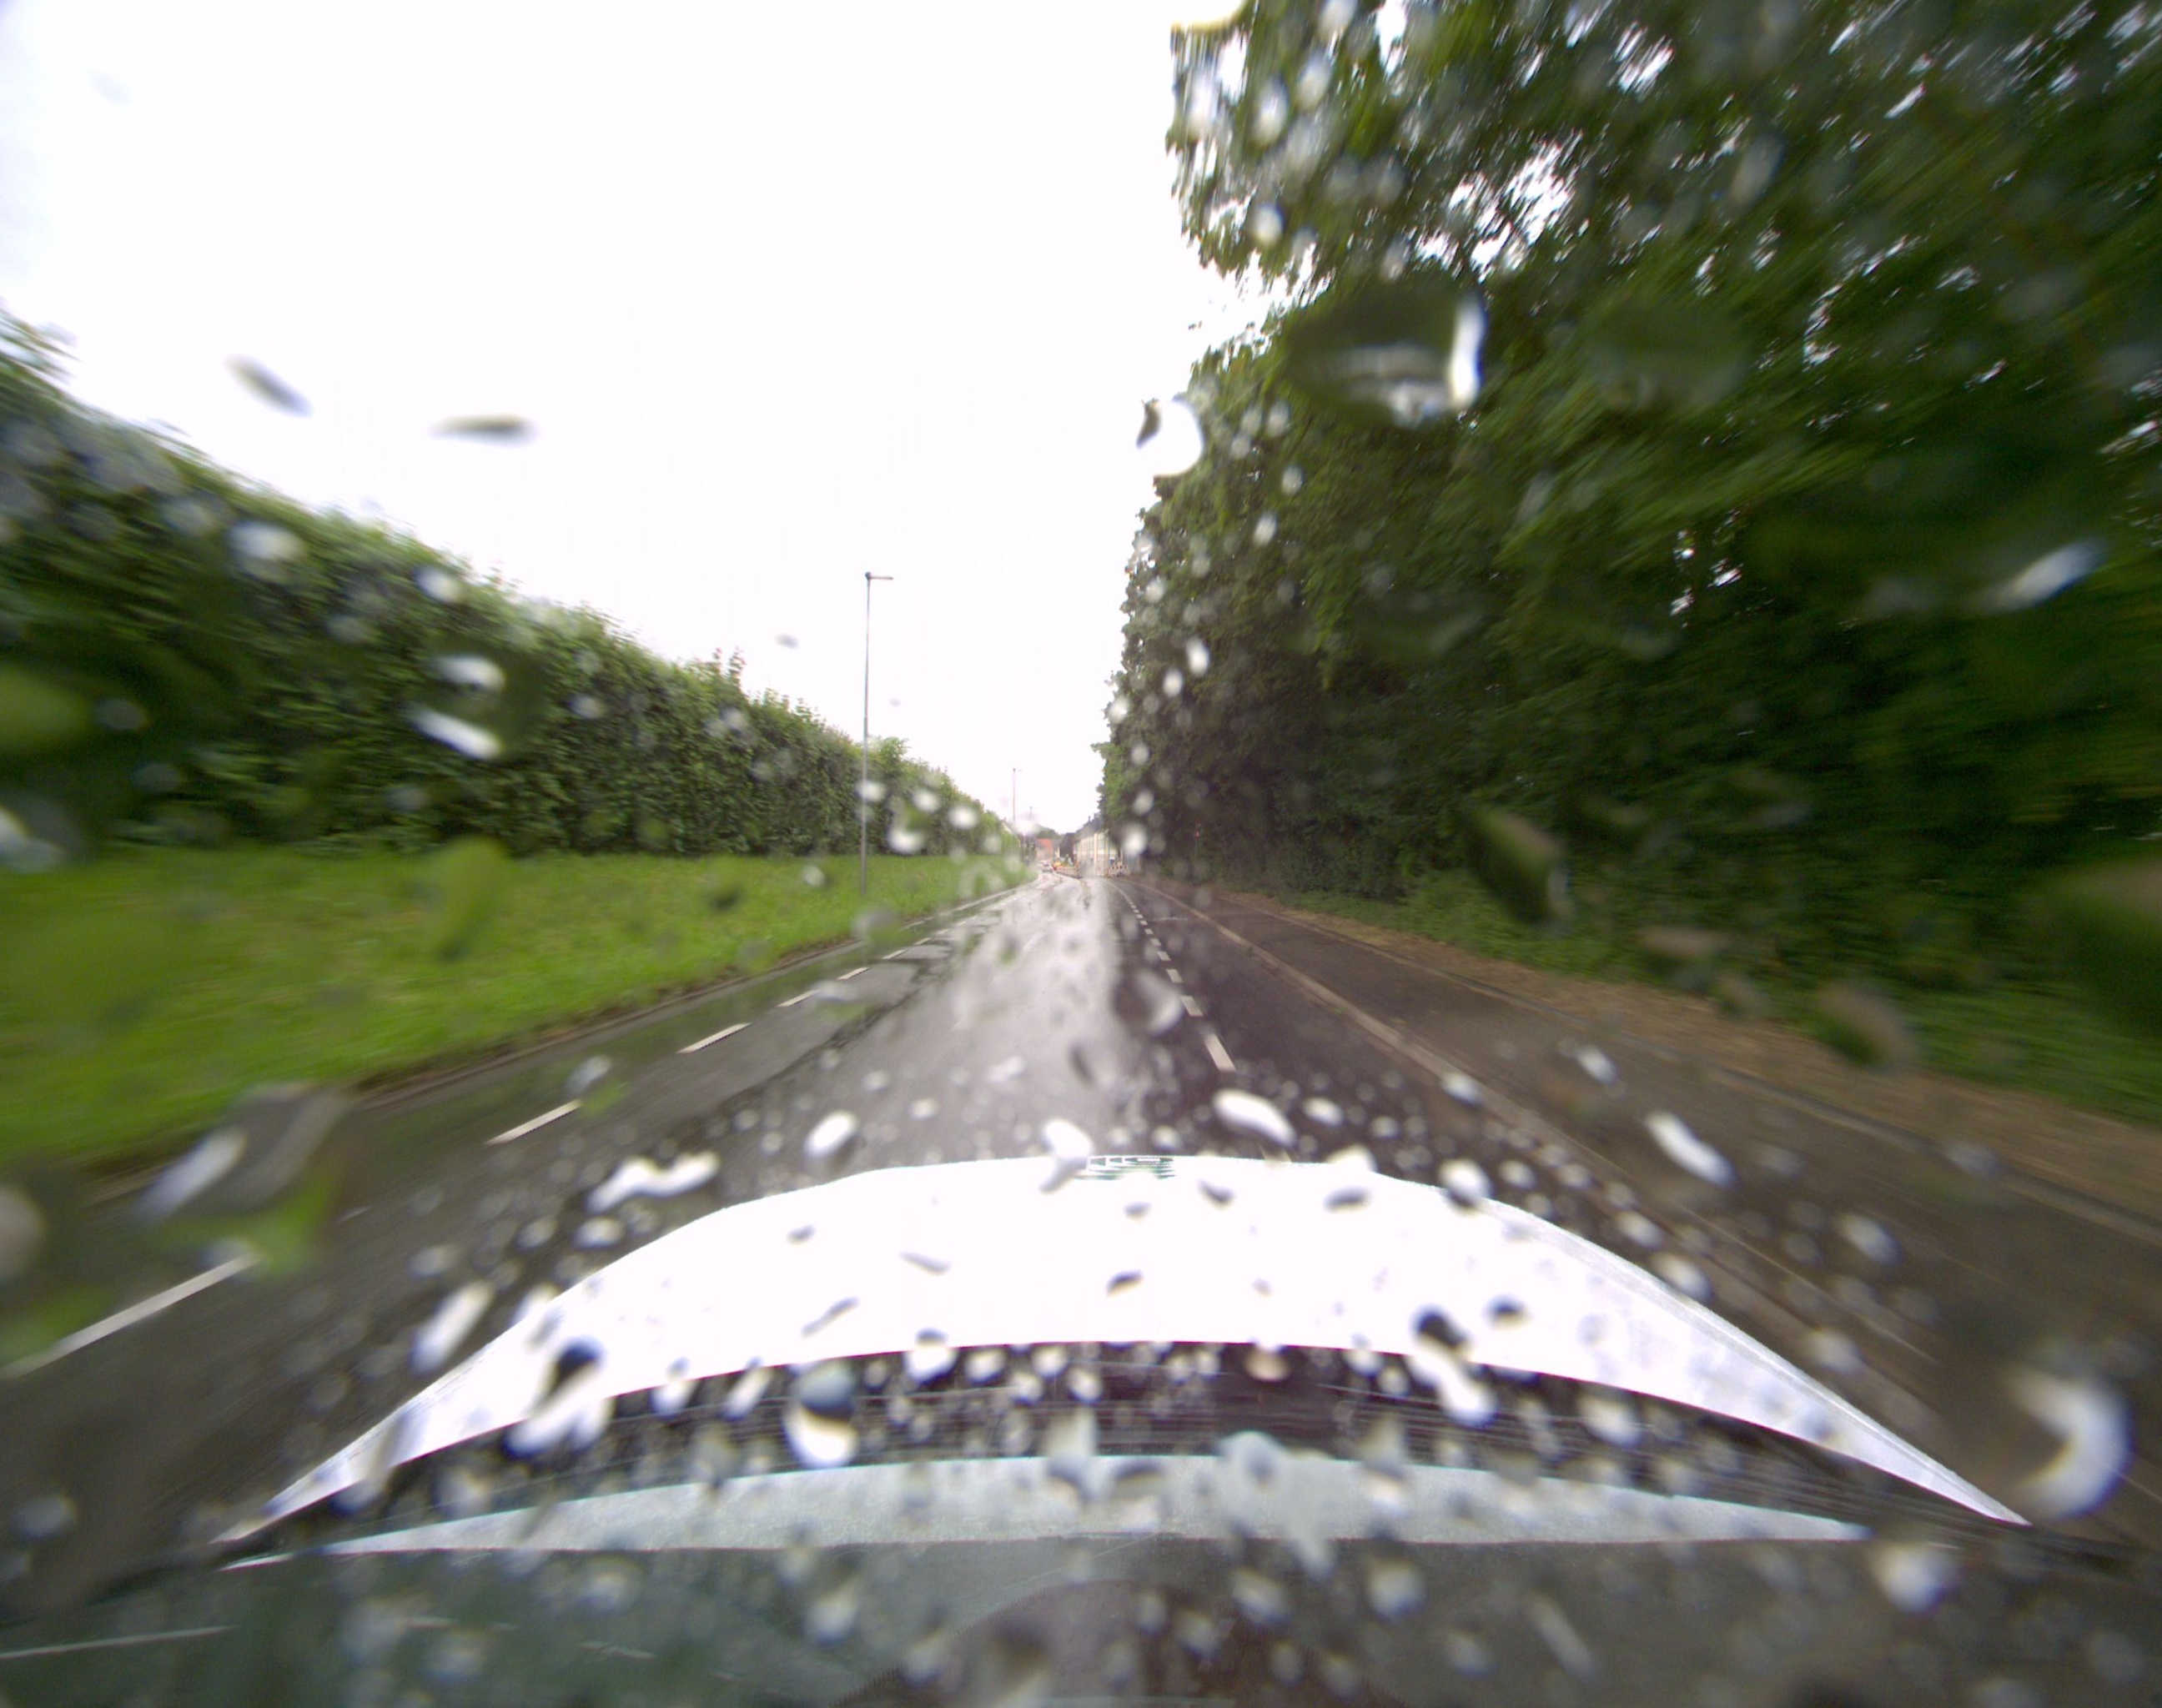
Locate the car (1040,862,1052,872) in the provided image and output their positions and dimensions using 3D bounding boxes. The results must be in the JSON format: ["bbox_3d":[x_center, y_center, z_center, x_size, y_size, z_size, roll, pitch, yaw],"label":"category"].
[{"bbox_3d":[-6.668,2.492,156.368,1.991,1.611,3.991,2,0,-7],"label":"car"}]

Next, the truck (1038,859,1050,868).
[{"bbox_3d":[-8.743,2.283,191.590,1.984,2.013,4.912,1,1,5],"label":"truck"}]
